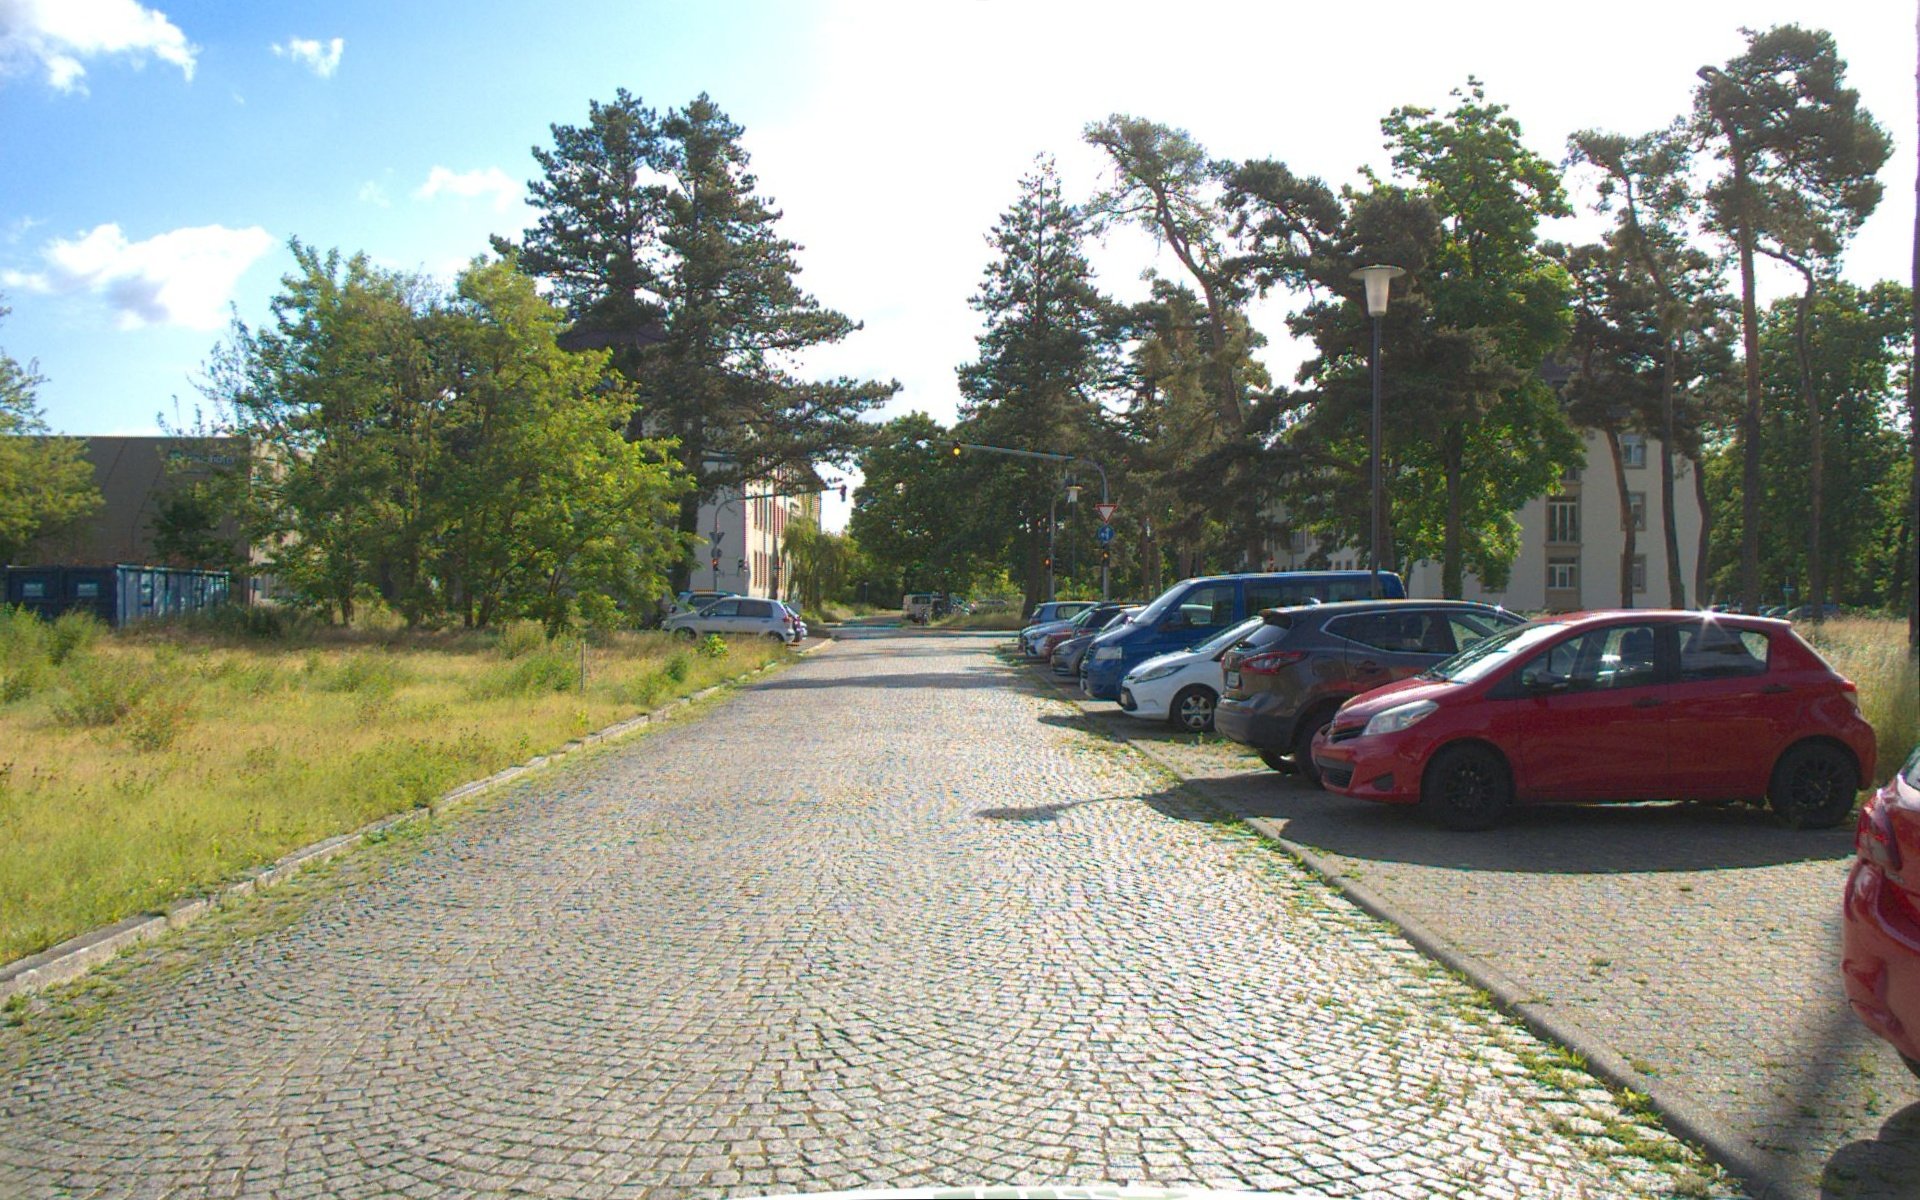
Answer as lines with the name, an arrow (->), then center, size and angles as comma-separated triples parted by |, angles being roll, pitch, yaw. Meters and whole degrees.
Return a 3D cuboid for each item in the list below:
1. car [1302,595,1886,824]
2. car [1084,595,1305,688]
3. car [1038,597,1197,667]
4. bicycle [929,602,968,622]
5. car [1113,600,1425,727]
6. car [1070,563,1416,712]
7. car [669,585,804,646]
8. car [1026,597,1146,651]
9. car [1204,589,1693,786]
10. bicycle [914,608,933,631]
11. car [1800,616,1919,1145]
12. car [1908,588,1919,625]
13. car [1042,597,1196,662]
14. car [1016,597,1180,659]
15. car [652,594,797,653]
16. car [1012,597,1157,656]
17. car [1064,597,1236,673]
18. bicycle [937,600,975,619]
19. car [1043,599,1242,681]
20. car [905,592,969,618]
car -> 4.549, 0.749, 12.200 | 3.687, 1.557, 1.644 | 0, 0, -3
car -> 4.071, 0.710, 29.125 | 3.619, 1.491, 1.645 | -2, 0, -1
car -> 3.537, 0.706, 37.609 | 3.408, 1.556, 1.644 | 0, 0, -3
bicycle -> -0.676, 0.718, 96.445 | 2.134, 1.119, 0.805 | 1, 0, -11
car -> 3.908, 0.778, 21.263 | 3.645, 1.514, 1.644 | -1, 0, -4
car -> 4.006, 0.517, 23.945 | 4.585, 2.049, 2.082 | 0, 0, -5
car -> -6.978, 0.482, 51.886 | 3.907, 1.629, 1.999 | 4, 0, -2
car -> 3.591, 0.684, 47.564 | 3.277, 1.508, 1.644 | 0, 0, -3
car -> 4.269, 0.734, 14.854 | 3.857, 1.650, 1.771 | 0, 0, -3
bicycle -> -2.064, 1.092, 92.944 | 0.789, 1.190, 2.177 | -1, 0, -7
car -> 4.622, 0.787, 4.601 | 3.750, 1.504, 1.645 | -1, 0, -2
car -> 54.881, 0.358, 91.333 | 3.906, 2.049, 1.999 | 0, 0, -2
car -> 3.811, 0.701, 40.078 | 3.531, 1.556, 1.644 | 0, 0, -3
car -> 3.479, 0.696, 42.148 | 3.955, 1.556, 1.644 | 0, 0, -5
car -> -6.569, 0.641, 46.507 | 3.908, 1.628, 1.998 | 0, 0, -4
car -> 3.360, 0.713, 44.916 | 3.759, 1.556, 1.644 | 0, 0, -3
car -> 3.977, 0.715, 34.929 | 3.408, 1.556, 1.644 | 0, 0, -3
bicycle -> -0.219, 0.571, 97.936 | 2.134, 1.119, 0.805 | 1, 0, -11
car -> 3.492, 0.751, 31.997 | 3.601, 1.493, 1.644 | -1, 0, -3
car -> -1.598, 0.345, 113.894 | 4.390, 1.758, 1.999 | 1, 0, -2
